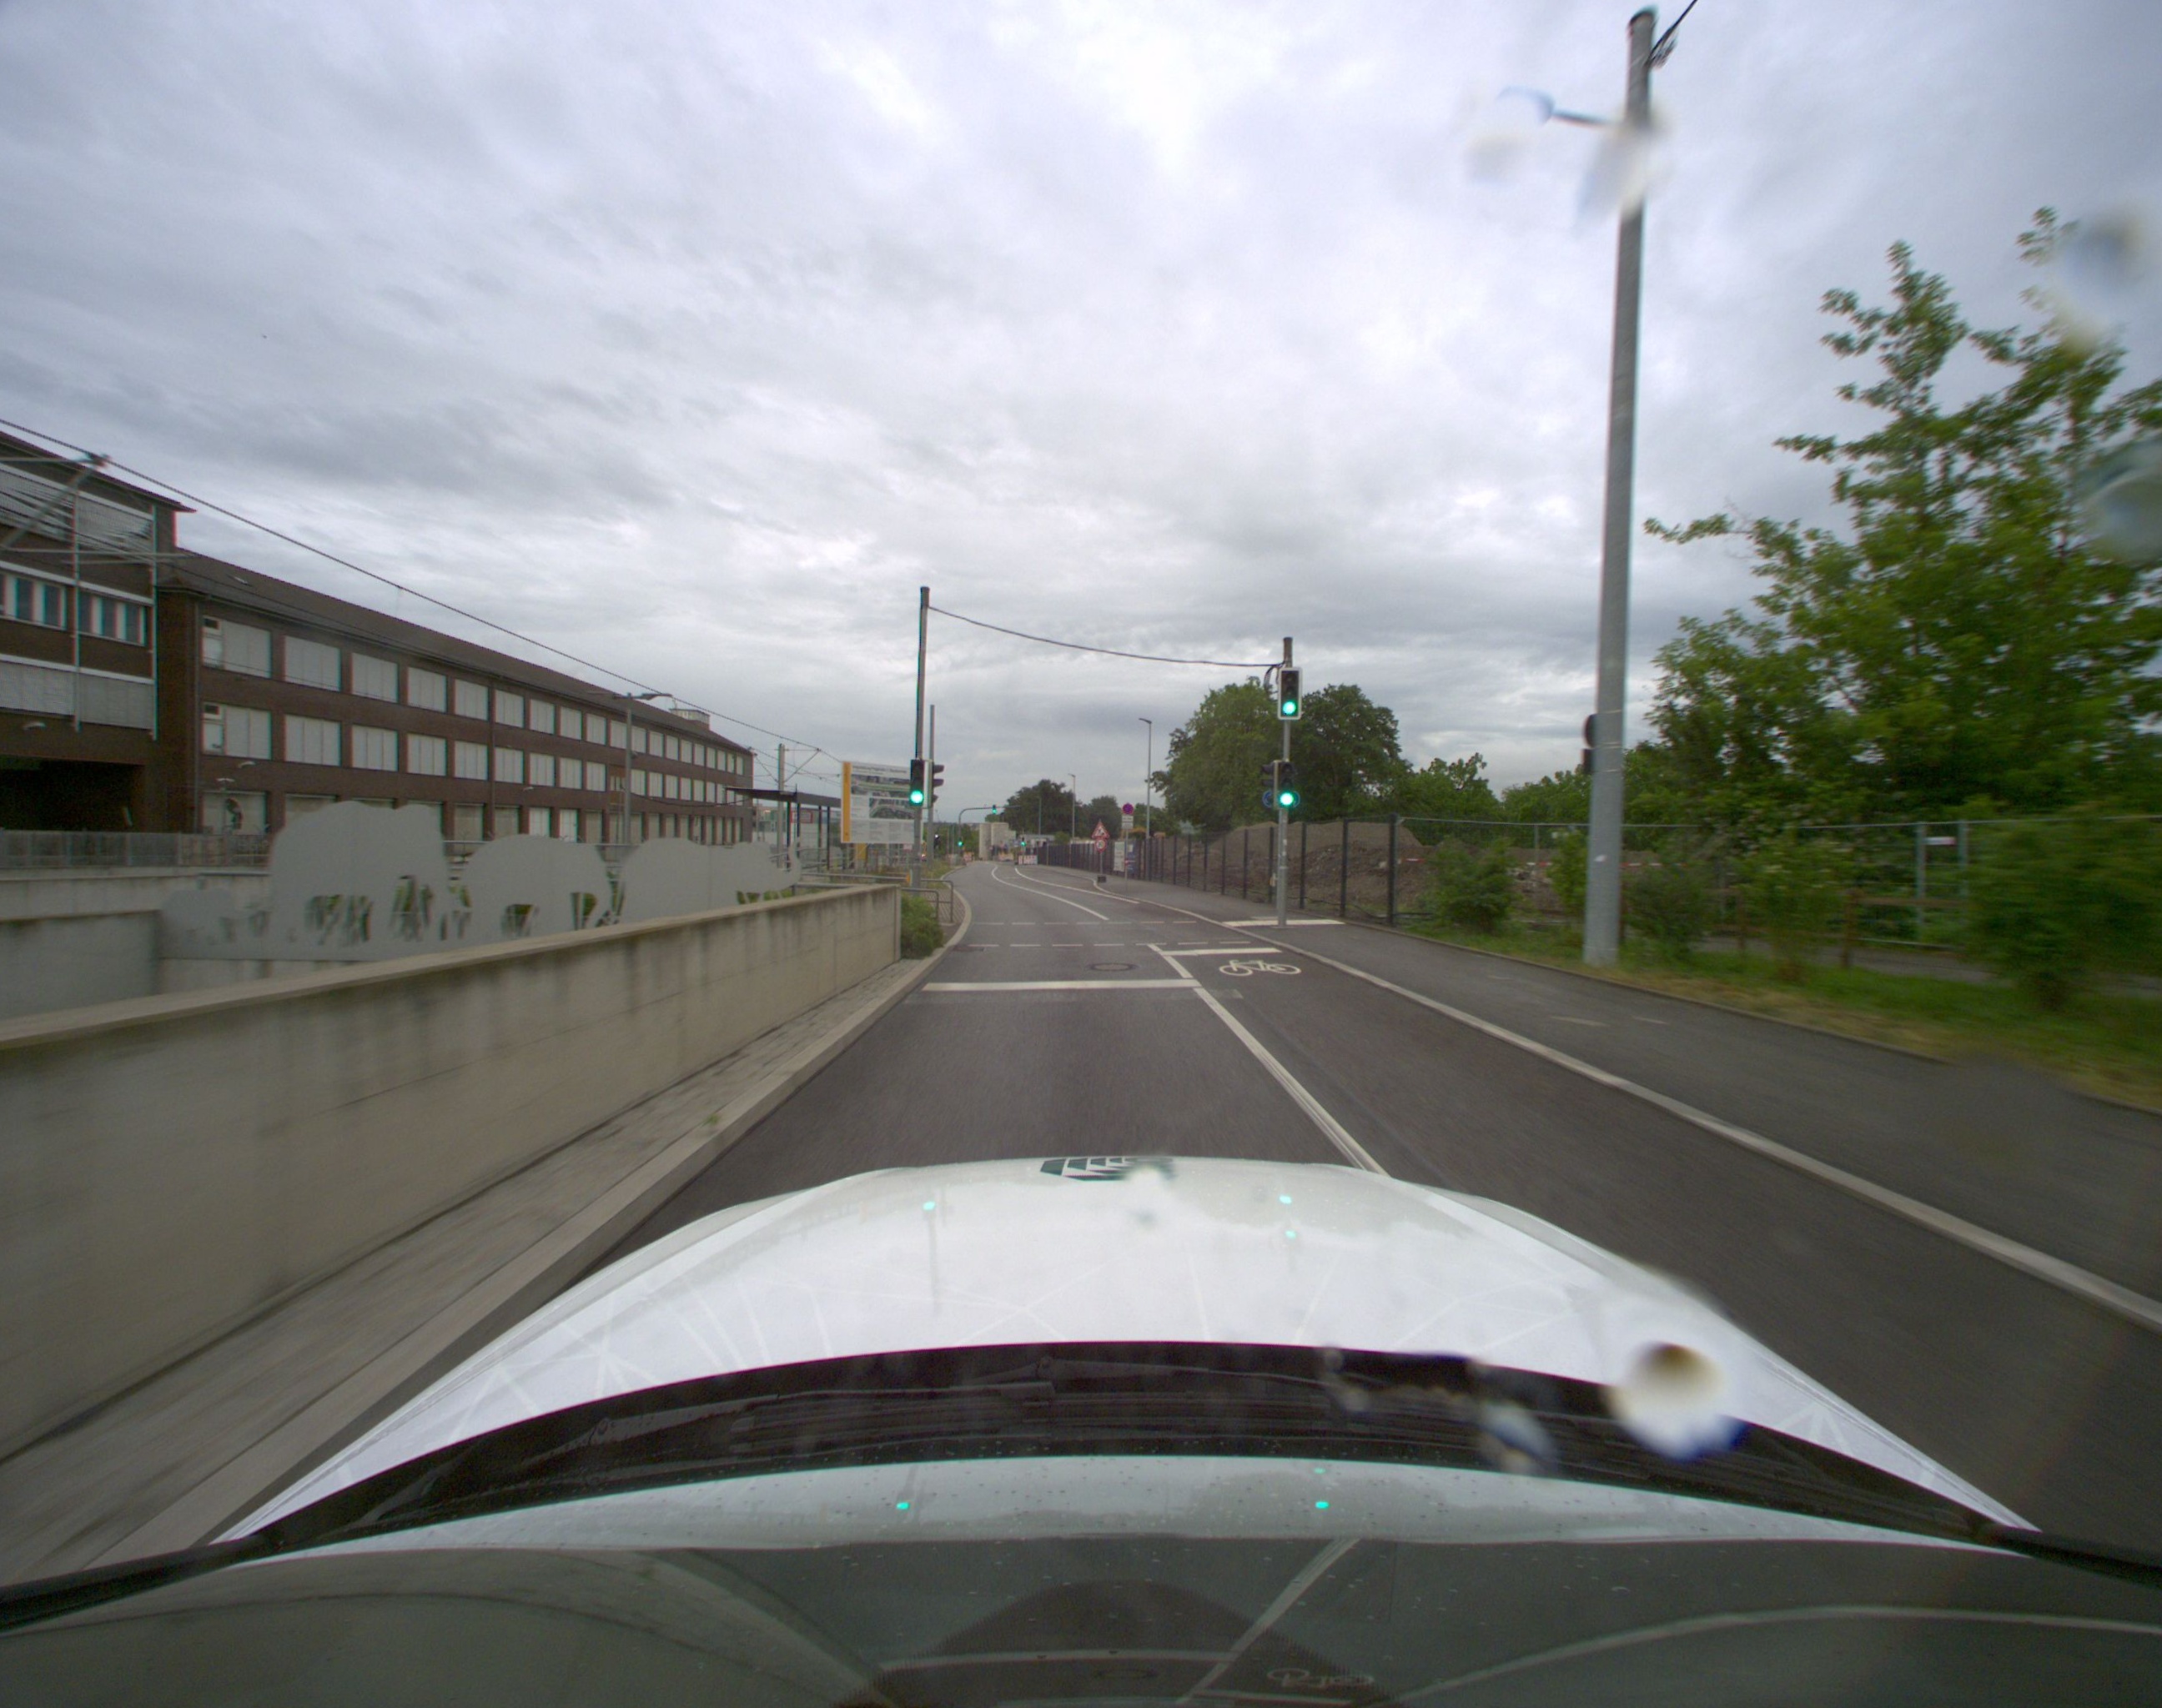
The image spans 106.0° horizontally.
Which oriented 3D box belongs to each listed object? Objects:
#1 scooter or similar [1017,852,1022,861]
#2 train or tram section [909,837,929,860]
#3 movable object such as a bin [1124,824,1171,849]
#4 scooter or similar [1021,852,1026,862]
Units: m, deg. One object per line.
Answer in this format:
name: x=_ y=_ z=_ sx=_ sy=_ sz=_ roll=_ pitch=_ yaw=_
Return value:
scooter or similar: x=-8.489 y=0.340 z=111.927 sx=0.613 sy=1.351 sz=1.910 roll=0 pitch=0 yaw=-3
train or tram section: x=-28.906 y=-0.953 z=145.911 sx=2.955 sy=3.886 sz=19.503 roll=1 pitch=0 yaw=-10
movable object such as a bin: x=16.113 y=-4.269 z=198.896 sx=11.200 sy=5.995 sz=3.489 roll=-1 pitch=-1 yaw=-2
scooter or similar: x=-7.864 y=0.392 z=111.921 sx=0.613 sy=1.351 sz=1.910 roll=0 pitch=0 yaw=-3
